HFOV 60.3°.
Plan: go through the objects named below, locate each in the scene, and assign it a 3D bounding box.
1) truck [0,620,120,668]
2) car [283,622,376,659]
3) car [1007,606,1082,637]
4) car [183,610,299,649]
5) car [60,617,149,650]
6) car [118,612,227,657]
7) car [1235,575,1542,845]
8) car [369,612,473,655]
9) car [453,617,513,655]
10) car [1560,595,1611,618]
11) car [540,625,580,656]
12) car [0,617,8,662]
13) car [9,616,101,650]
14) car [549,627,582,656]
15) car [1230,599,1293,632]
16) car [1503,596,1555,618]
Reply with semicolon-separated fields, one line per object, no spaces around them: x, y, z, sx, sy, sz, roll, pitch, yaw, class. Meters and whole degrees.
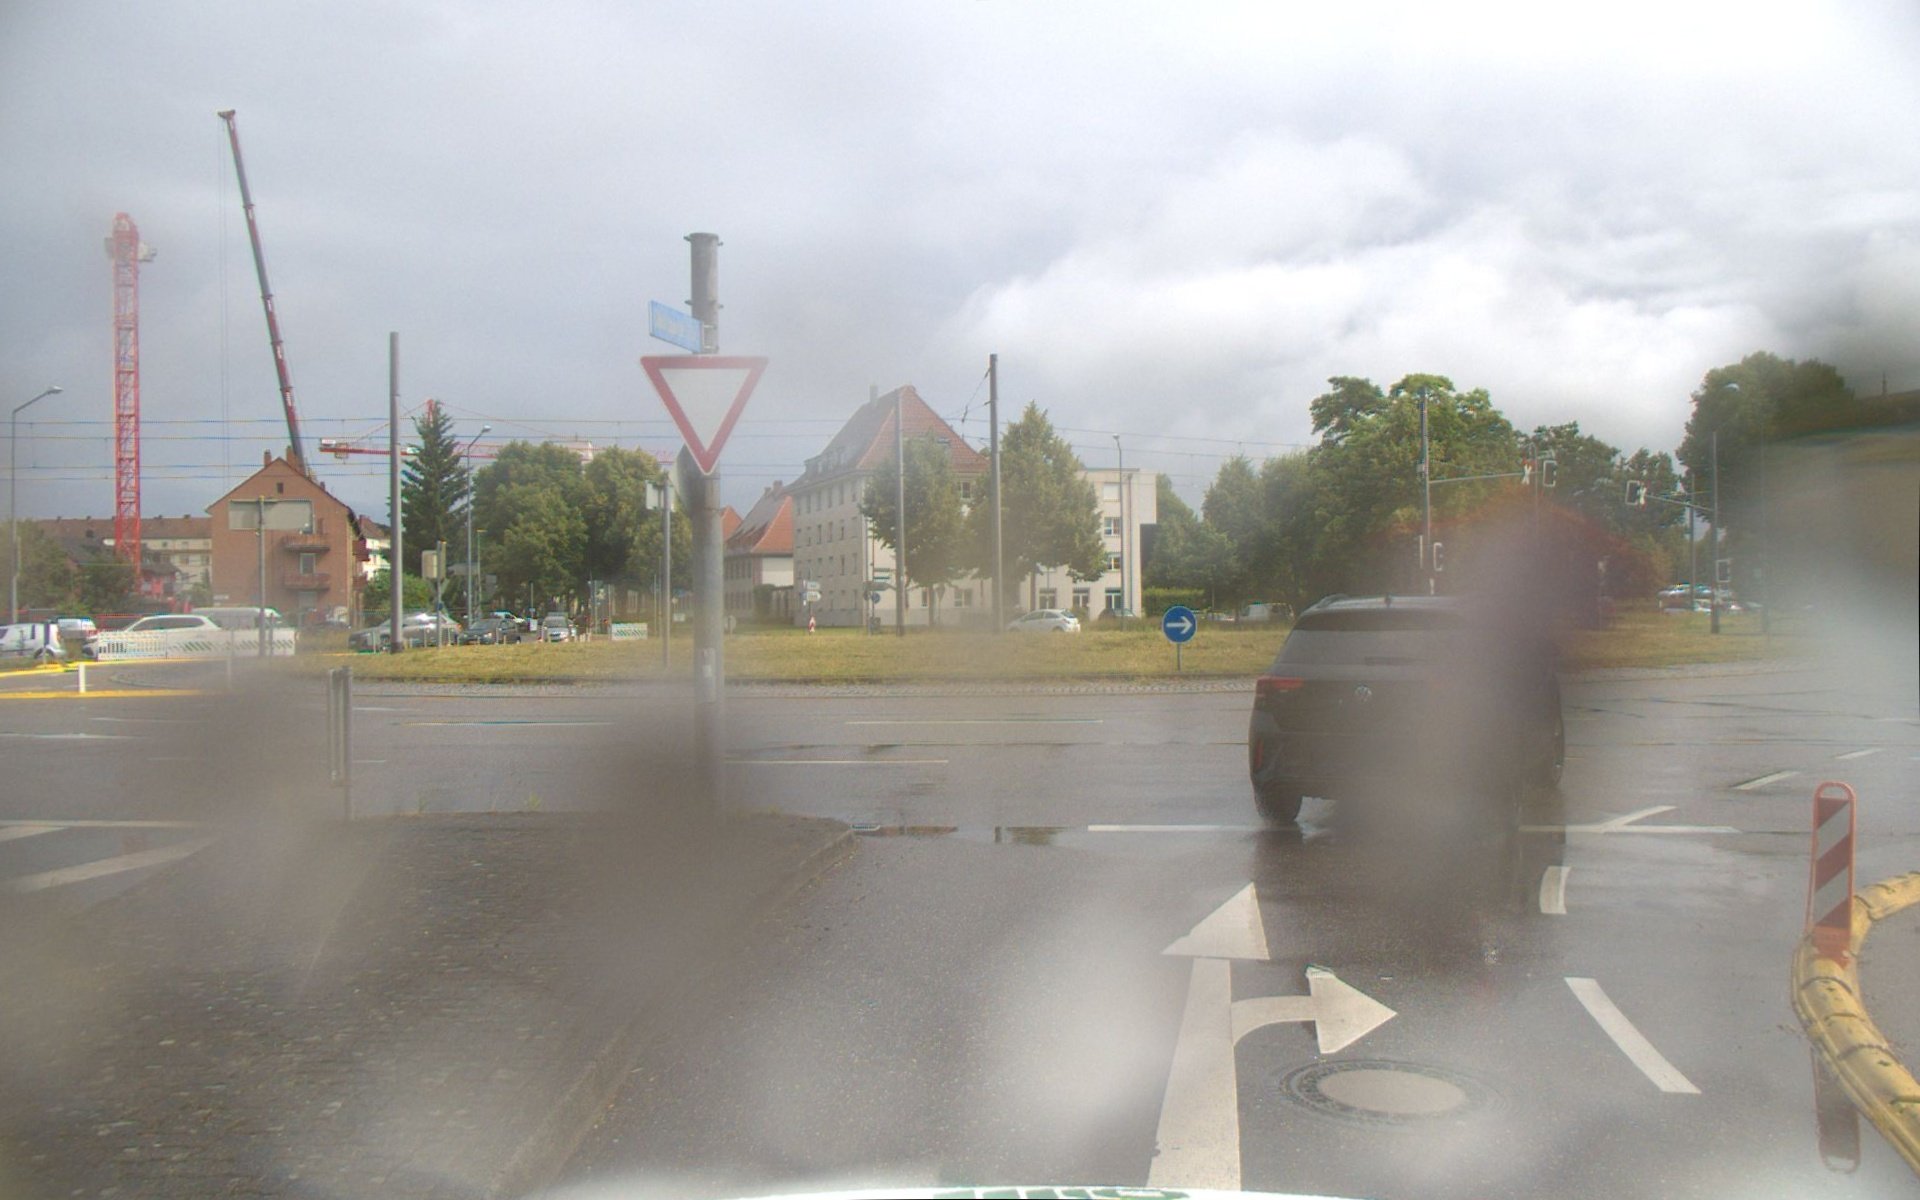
-46.415;2.220;84.417;5.951;2.250;2.399;1;-1;9;truck
-31.631;1.998;83.089;1.958;1.713;3.988;-1;0;33;car
4.210;1.084;82.752;3.422;1.479;1.548;-1;0;29;car
-42.594;1.739;98.014;6.112;2.121;2.044;1;-1;9;car
-47.278;1.830;91.474;3.903;1.730;1.931;1;-1;4;car
-28.362;1.222;59.606;3.452;1.537;1.485;-1;0;-30;car
3.259;0.668;12.301;1.857;1.646;4.002;-1;0;17;car
-21.356;1.302;65.656;1.547;1.588;3.652;0;0;44;car
-21.642;1.630;75.145;1.756;1.613;3.997;-1;0;-3;car
44.157;0.487;116.790;1.617;1.537;3.637;-1;-1;-14;car
-21.394;2.157;88.599;1.514;1.588;3.497;0;0;-4;car
-35.067;1.399;56.787;3.936;1.543;1.789;-1;0;-25;car
-48.810;1.780;89.248;3.905;1.730;1.857;1;-1;0;car
-23.317;2.459;97.798;1.565;1.588;3.543;-1;0;-8;car
19.787;0.987;108.814;2.072;2.093;5.140;-2;0;-15;car
39.525;0.522;114.975;1.613;1.487;3.594;-1;-1;-16;car
